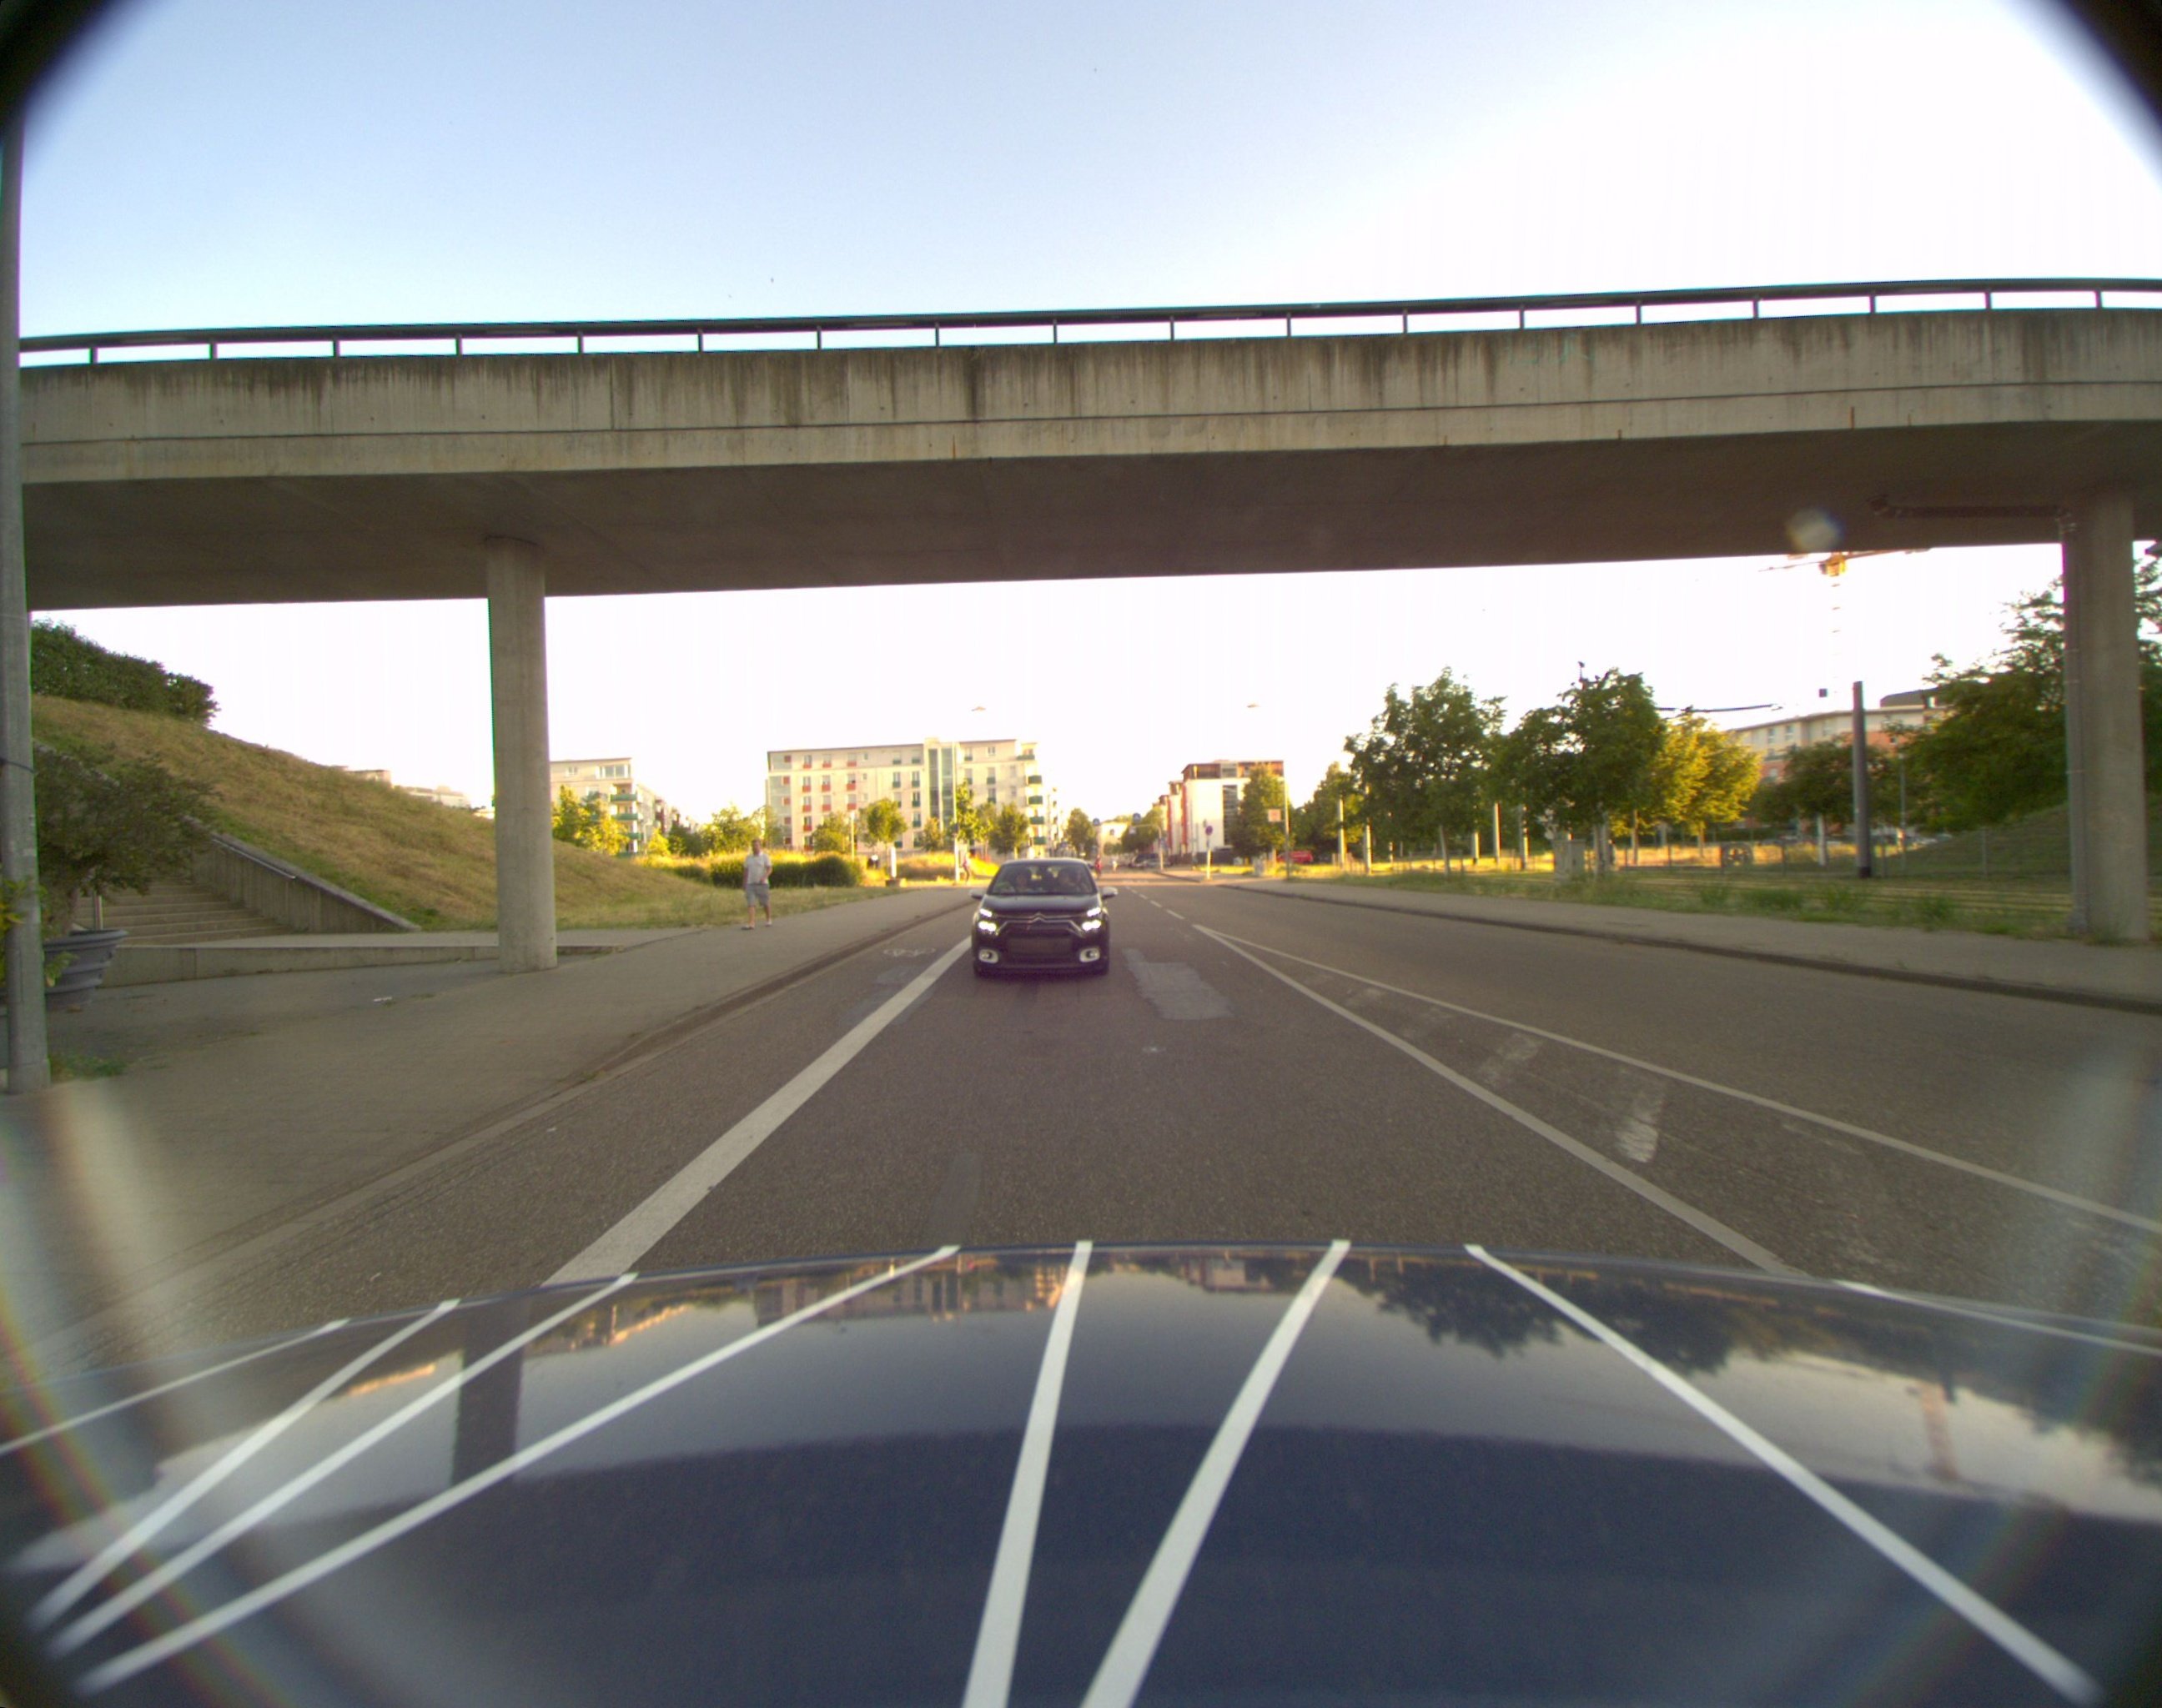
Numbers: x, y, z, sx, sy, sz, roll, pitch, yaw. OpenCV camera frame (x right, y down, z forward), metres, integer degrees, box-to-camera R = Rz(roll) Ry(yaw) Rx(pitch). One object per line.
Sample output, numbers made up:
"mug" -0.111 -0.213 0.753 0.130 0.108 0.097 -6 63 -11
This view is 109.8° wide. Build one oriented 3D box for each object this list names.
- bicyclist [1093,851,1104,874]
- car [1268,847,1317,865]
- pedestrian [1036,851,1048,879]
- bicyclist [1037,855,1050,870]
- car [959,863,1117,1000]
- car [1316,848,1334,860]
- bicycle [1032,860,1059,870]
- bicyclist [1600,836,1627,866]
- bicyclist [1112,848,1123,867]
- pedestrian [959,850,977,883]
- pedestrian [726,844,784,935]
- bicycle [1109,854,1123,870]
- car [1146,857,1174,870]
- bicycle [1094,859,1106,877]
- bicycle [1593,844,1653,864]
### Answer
"bicyclist" 1.268 0.621 54.149 0.697 1.630 0.852 -2 0 3
"car" 25.499 0.282 91.900 5.518 2.002 2.001 -2 0 9
"pedestrian" -2.418 0.682 47.127 0.737 1.714 0.532 0 0 1
"bicyclist" -4.274 0.960 85.783 0.934 1.585 1.065 -2 0 -42
"car" -0.449 0.907 10.601 1.739 1.455 4.000 -2 0 1
"car" 31.050 -0.007 96.760 1.942 1.521 4.004 -2 0 14
"bicycle" -3.998 1.255 85.738 0.902 1.142 3.489 -2 0 -44
"bicyclist" 28.884 -0.162 41.240 0.910 1.622 0.717 -2 0 -5
"bicyclist" 3.548 0.324 74.699 0.882 1.865 1.035 -2 0 10
"pedestrian" -5.732 0.633 38.581 0.737 1.620 0.859 0 0 2
"pedestrian" -6.351 0.673 14.846 0.737 1.714 0.906 0 0 1
"bicycle" 3.495 0.808 75.115 0.886 1.483 3.324 -2 0 9
"car" 11.825 1.448 113.859 3.996 1.718 2.000 -2 0 2
"bicycle" 1.338 0.973 54.304 0.662 1.217 2.440 -2 0 5
"bicycle" 29.436 0.004 41.288 2.842 1.002 0.655 -2 0 -4
